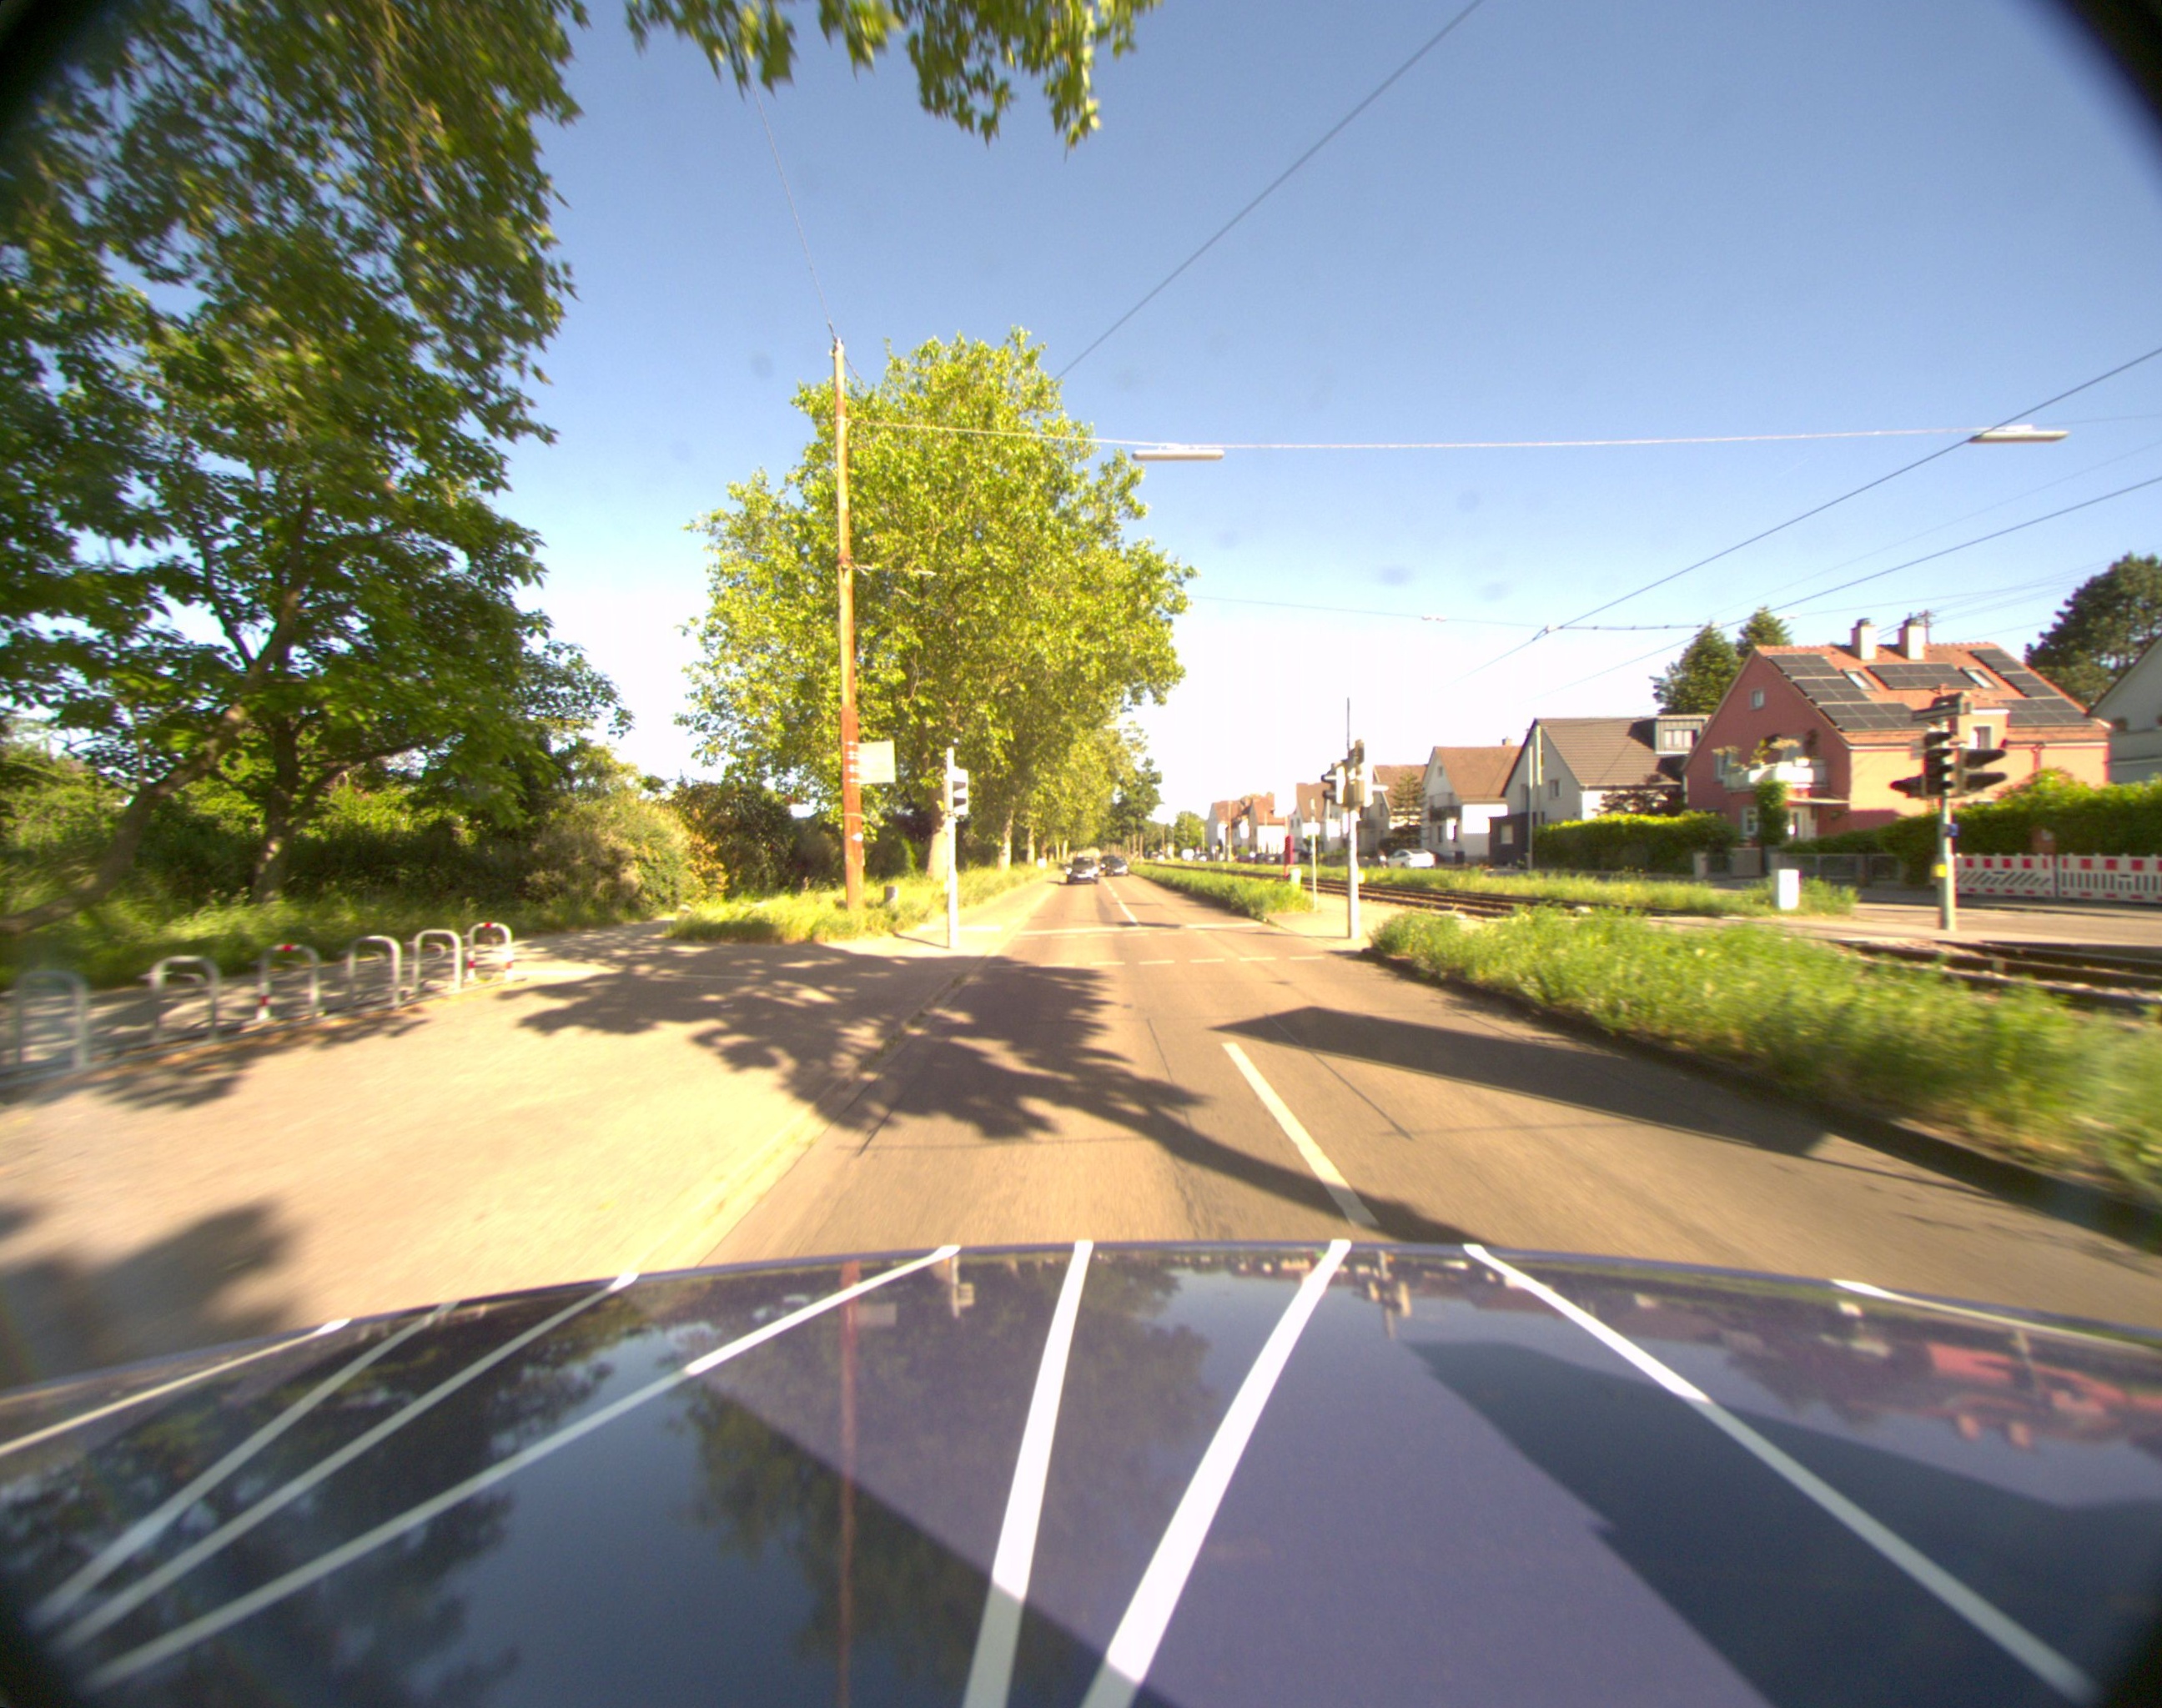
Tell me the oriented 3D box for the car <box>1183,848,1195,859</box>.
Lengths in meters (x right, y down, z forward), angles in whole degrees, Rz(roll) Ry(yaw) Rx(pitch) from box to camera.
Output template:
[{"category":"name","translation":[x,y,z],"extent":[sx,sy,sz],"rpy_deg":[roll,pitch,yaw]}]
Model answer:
[{"category":"car","translation":[23.289,-0.139,163.388],"extent":[2.132,2.210,4.001],"rpy_deg":[-2,1,4]}]

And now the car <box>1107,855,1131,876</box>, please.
[{"category":"car","translation":[2.897,0.866,58.490],"extent":[1.692,1.499,3.582],"rpy_deg":[-2,0,1]}]

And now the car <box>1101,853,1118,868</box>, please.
[{"category":"car","translation":[3.042,0.677,81.519],"extent":[1.692,1.499,3.582],"rpy_deg":[-2,0,1]}]

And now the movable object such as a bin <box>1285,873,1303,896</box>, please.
[{"category":"movable object such as a bin","translation":[5.512,0.787,19.692],"extent":[0.387,0.579,0.379],"rpy_deg":[-2,1,9]}]

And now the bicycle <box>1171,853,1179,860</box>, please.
[{"category":"bicycle","translation":[21.209,0.486,171.609],"extent":[1.354,1.486,4.000],"rpy_deg":[-2,0,1]}]

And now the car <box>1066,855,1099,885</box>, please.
[{"category":"car","translation":[0.119,0.910,43.632],"extent":[1.692,1.499,3.582],"rpy_deg":[-4,0,1]}]

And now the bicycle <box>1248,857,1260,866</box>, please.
[{"category":"bicycle","translation":[20.171,0.888,88.425],"extent":[0.854,0.946,2.309],"rpy_deg":[-2,0,1]}]

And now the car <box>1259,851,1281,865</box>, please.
[{"category":"car","translation":[22.421,0.479,90.323],"extent":[1.738,1.481,3.756],"rpy_deg":[-2,0,1]}]

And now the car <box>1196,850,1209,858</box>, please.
[{"category":"car","translation":[23.140,0.006,144.722],"extent":[1.791,1.497,4.000],"rpy_deg":[-2,0,1]}]

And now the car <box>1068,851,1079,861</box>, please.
[{"category":"car","translation":[-1.186,0.333,124.191],"extent":[1.692,1.499,3.582],"rpy_deg":[-2,0,1]}]

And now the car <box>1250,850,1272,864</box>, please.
[{"category":"car","translation":[22.414,0.343,94.594],"extent":[1.802,1.588,4.011],"rpy_deg":[-2,0,1]}]

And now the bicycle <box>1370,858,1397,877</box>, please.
[{"category":"bicycle","translation":[20.081,0.891,50.467],"extent":[0.854,1.128,2.309],"rpy_deg":[-2,1,1]}]

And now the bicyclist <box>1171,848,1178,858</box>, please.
[{"category":"bicyclist","translation":[21.184,-0.241,171.381],"extent":[1.310,2.220,1.623],"rpy_deg":[-2,1,1]}]

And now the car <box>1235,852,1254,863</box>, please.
[{"category":"car","translation":[22.955,0.448,106.854],"extent":[1.756,1.373,3.823],"rpy_deg":[-2,0,1]}]

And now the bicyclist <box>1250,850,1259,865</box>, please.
[{"category":"bicyclist","translation":[20.172,0.397,88.367],"extent":[0.854,1.664,0.837],"rpy_deg":[-2,1,1]}]

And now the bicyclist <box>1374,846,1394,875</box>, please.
[{"category":"bicyclist","translation":[20.063,0.447,50.400],"extent":[0.854,1.876,1.072],"rpy_deg":[-2,1,1]}]

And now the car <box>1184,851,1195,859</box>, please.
[{"category":"car","translation":[22.628,0.217,158.527],"extent":[1.791,1.497,4.001],"rpy_deg":[-2,0,4]}]

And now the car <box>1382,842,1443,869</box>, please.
[{"category":"car","translation":[22.194,0.093,51.059],"extent":[1.998,1.668,4.839],"rpy_deg":[-2,0,1]}]
